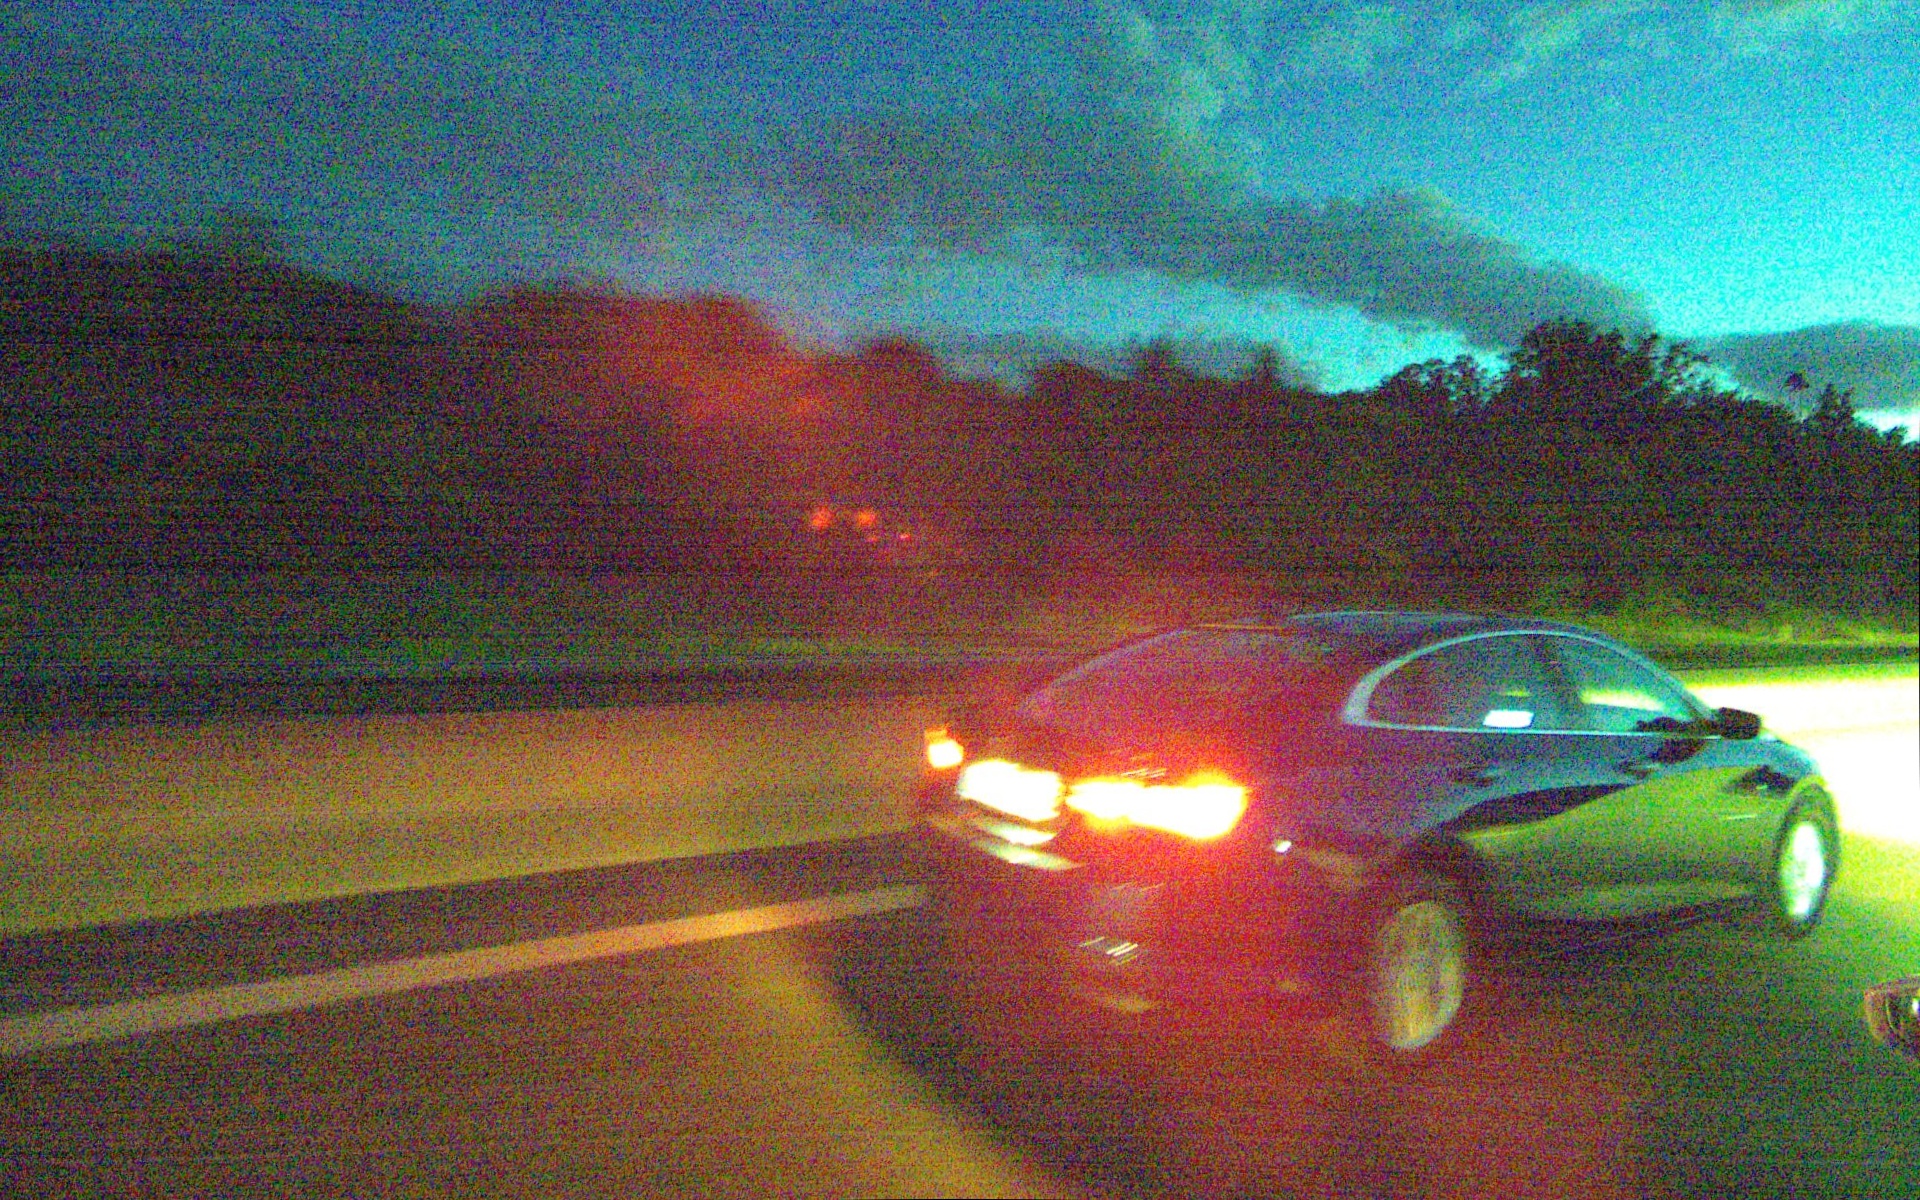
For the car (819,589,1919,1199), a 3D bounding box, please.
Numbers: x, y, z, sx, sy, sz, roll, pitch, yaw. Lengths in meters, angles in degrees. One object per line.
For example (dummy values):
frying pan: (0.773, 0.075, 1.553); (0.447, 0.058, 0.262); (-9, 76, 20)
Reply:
car: (2.315, 0.725, 4.653); (5.582, 1.539, 1.984); (0, 1, -30)
